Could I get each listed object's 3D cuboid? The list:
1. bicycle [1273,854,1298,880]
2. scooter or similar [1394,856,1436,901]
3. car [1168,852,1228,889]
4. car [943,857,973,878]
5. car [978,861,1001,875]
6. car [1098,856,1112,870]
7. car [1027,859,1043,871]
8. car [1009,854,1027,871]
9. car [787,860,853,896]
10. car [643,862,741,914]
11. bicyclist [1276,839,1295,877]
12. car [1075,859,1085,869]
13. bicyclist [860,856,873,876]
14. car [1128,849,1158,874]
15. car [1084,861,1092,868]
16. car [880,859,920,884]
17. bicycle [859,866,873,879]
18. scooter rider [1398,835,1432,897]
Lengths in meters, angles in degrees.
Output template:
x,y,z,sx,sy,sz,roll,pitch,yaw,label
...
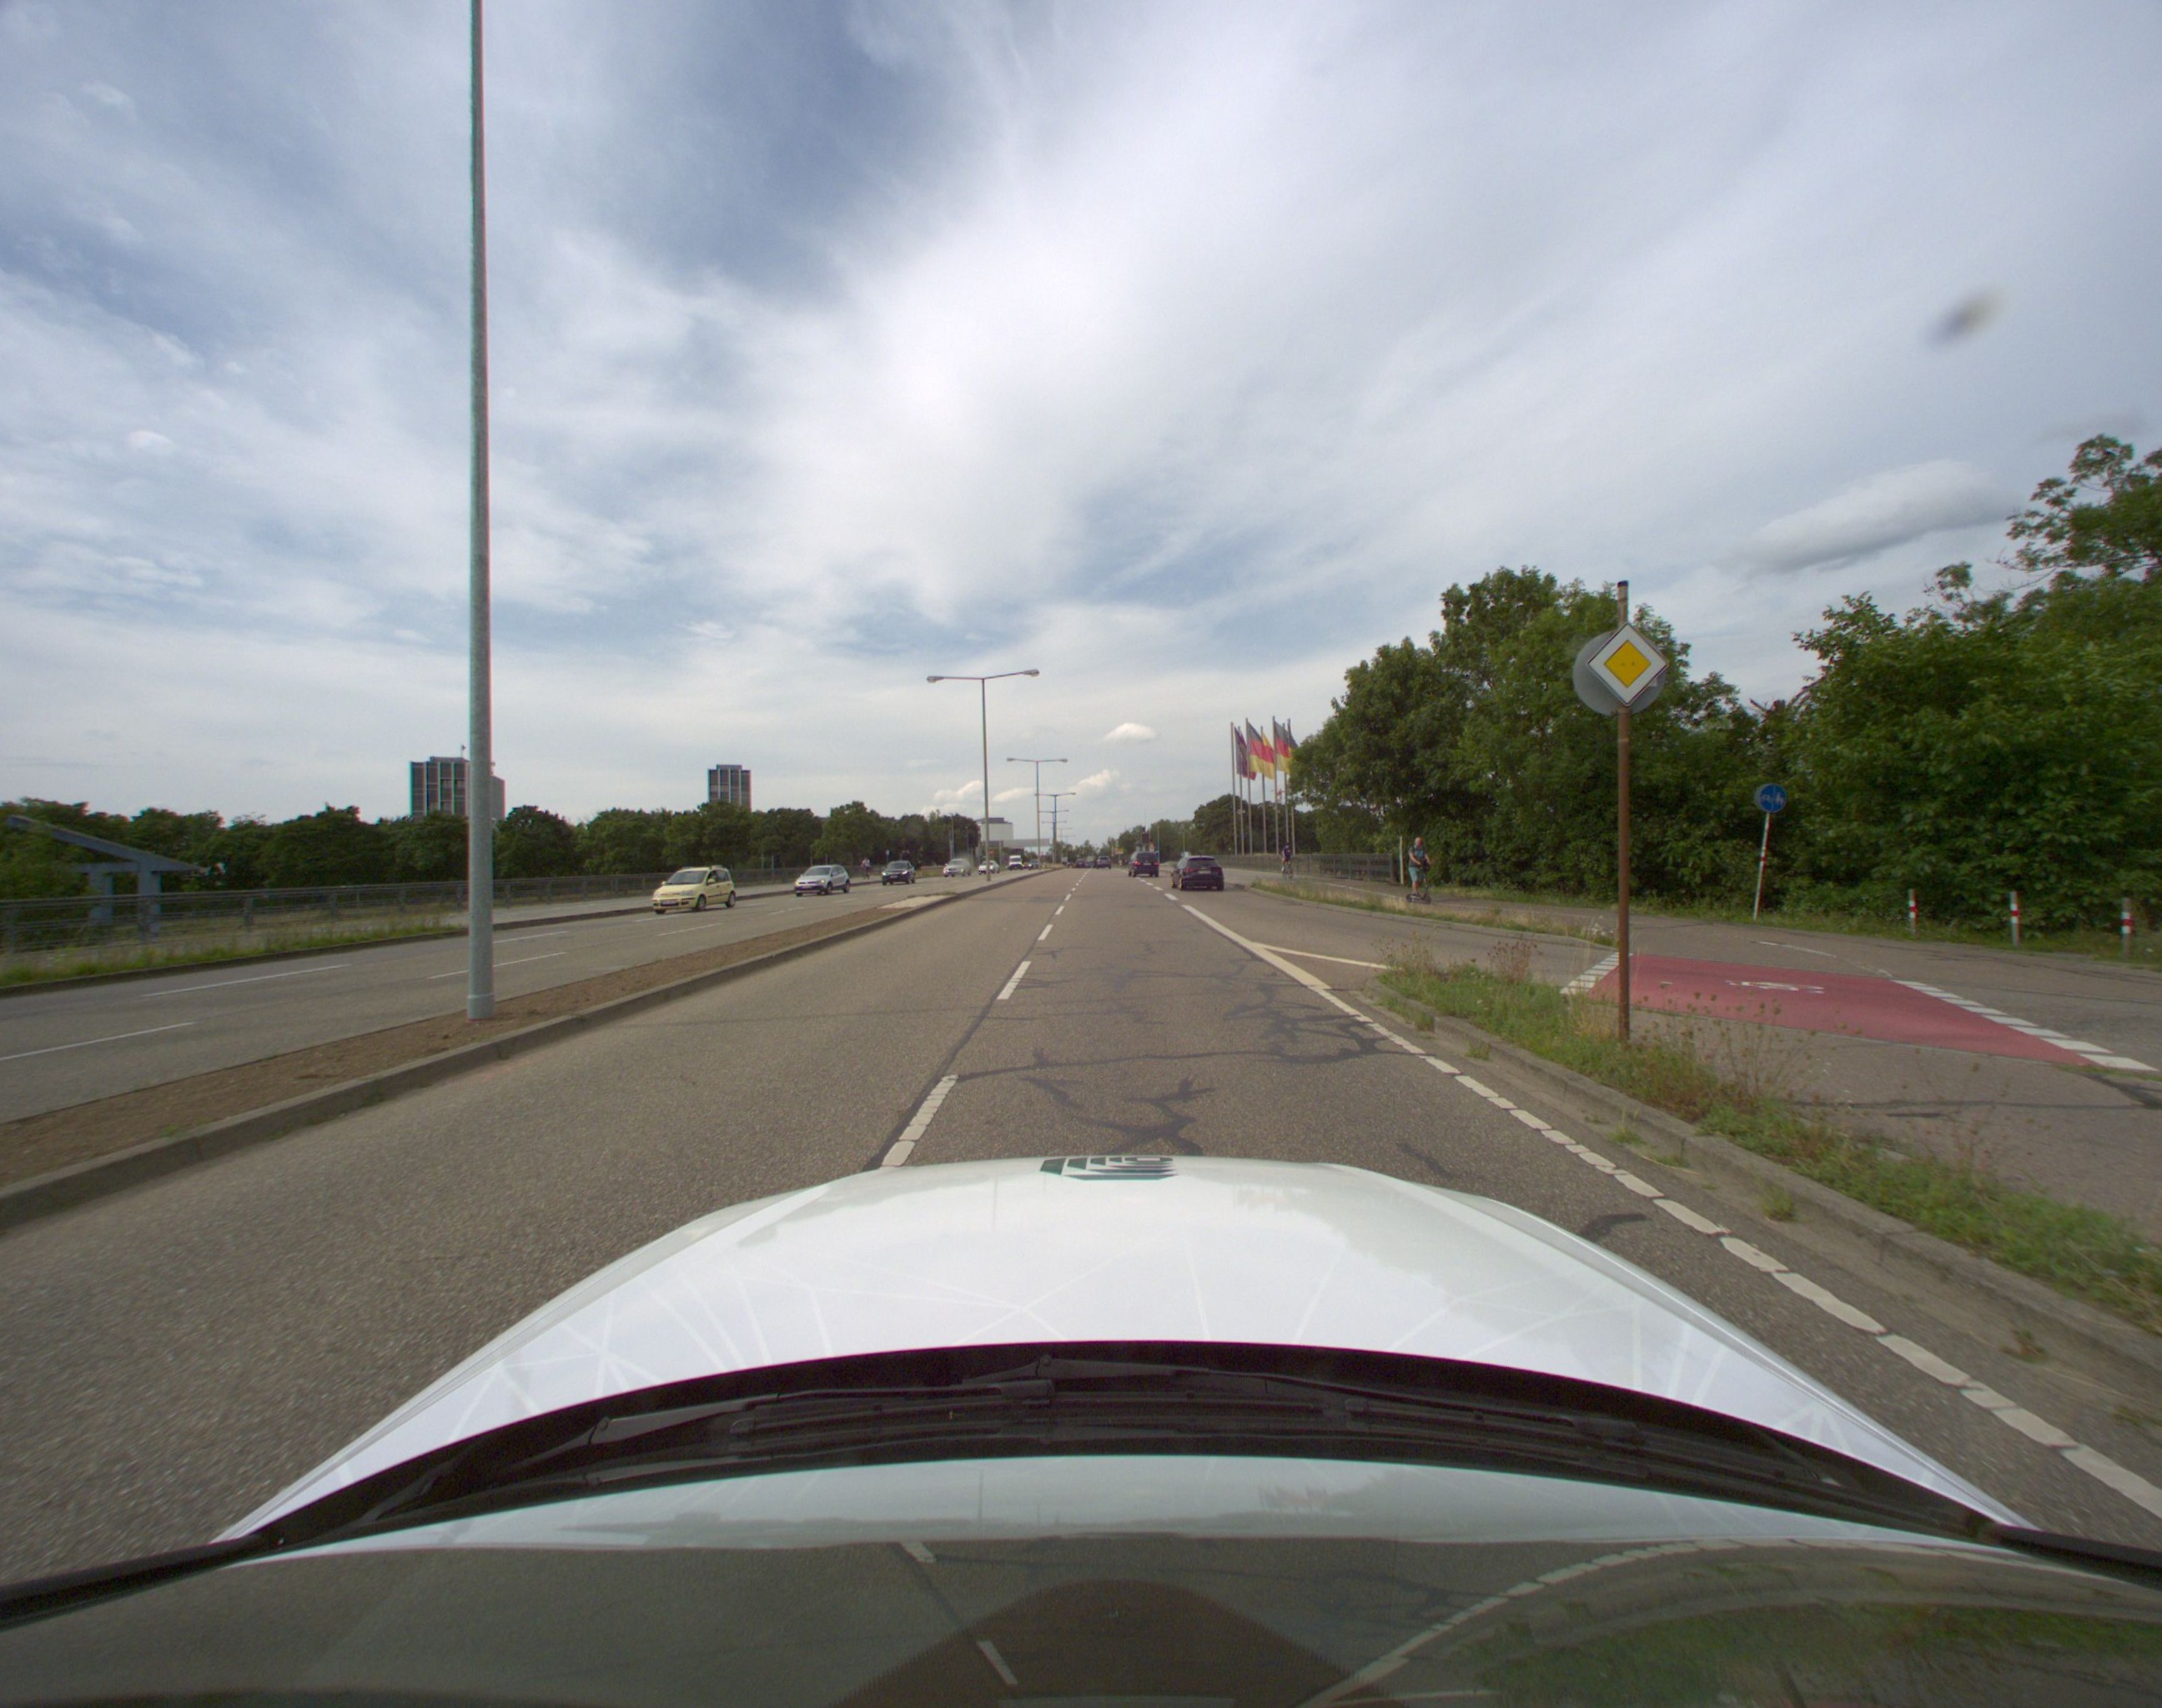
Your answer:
x,y,z,sx,sy,sz,roll,pitch,yaw,label
9.078,0.559,36.189,0.575,1.022,1.976,-4,1,1,bicycle
9.374,0.671,22.894,0.587,1.224,1.200,0,0,-7,scooter or similar
4.785,0.688,33.804,1.726,1.395,4.111,-1,-1,-2,car
-11.525,1.236,76.319,1.856,1.725,4.772,-3,0,2,car
-10.373,1.540,92.483,1.731,1.480,4.476,-3,0,4,car
3.035,1.139,104.006,1.725,1.653,4.114,0,-1,0,car
-6.386,1.563,113.852,1.732,1.481,4.776,-3,-1,1,car
-10.349,1.325,134.009,2.045,2.643,6.404,-3,0,3,car
-12.902,1.148,40.463,1.642,1.515,4.021,-3,0,4,car
-13.577,1.133,28.647,1.543,1.578,3.691,-3,0,1,car
9.079,0.155,36.134,0.662,1.659,0.805,0,1,0,bicyclist
-0.147,1.812,148.668,1.725,1.653,4.114,0,-1,0,car
-17.728,0.982,67.326,0.793,1.626,0.976,0,-1,-2,bicyclist
4.222,0.548,55.716,1.725,1.653,4.114,0,-1,0,car
1.609,2.332,186.119,1.725,1.526,4.114,0,-1,0,car
-12.272,1.173,55.395,1.735,1.515,4.313,-3,0,-1,car
-17.724,1.539,67.220,0.704,1.049,2.058,-1,0,-2,bicycle
9.377,0.330,22.852,0.587,1.690,0.742,0,-1,-8,scooter rider
